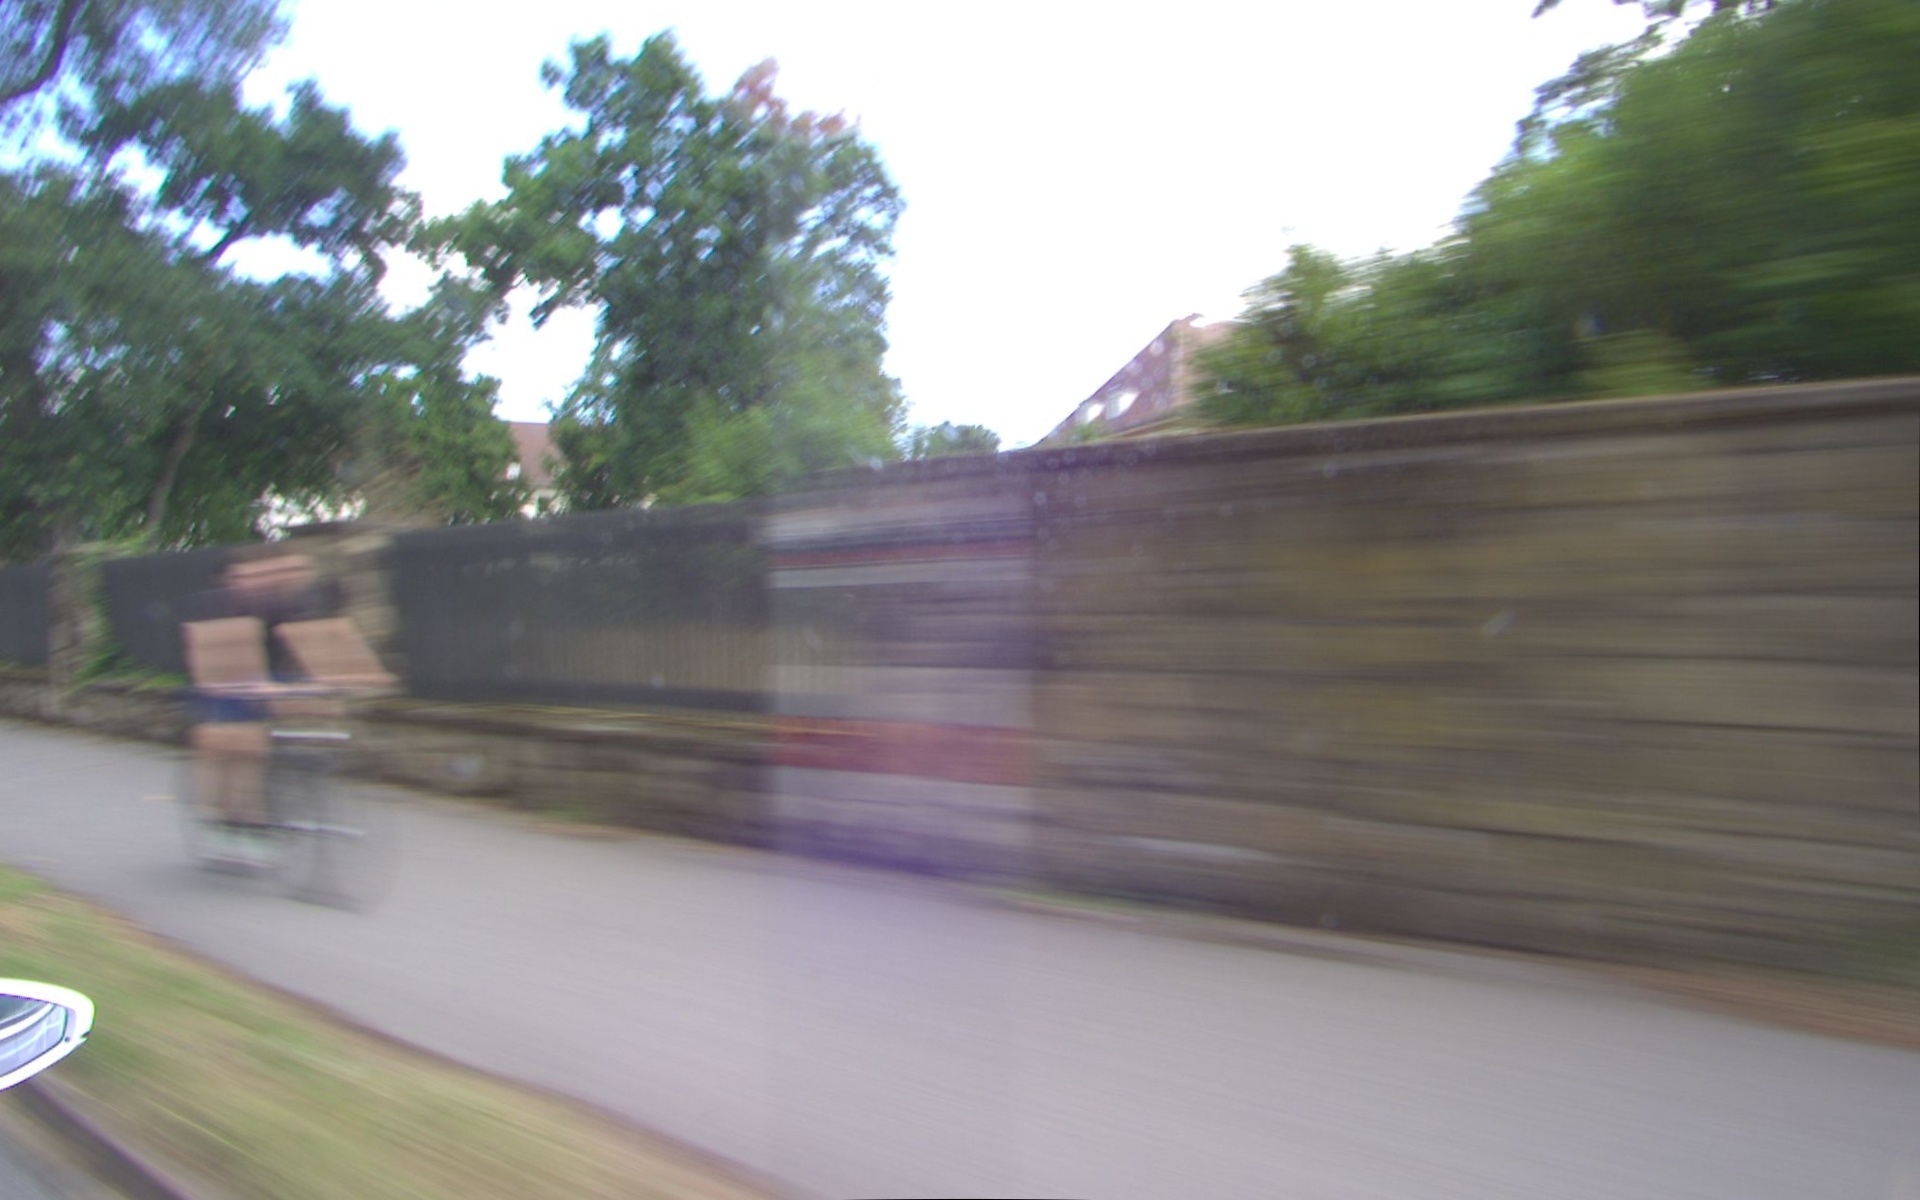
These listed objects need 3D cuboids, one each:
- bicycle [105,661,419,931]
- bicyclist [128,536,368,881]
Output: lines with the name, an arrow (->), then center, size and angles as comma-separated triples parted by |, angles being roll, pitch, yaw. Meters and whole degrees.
bicycle -> -3.686, 0.913, 5.213 | 2.127, 1.087, 0.556 | 0, 2, 33
bicyclist -> -3.716, 0.503, 5.215 | 1.188, 1.610, 0.568 | 0, 3, 33
